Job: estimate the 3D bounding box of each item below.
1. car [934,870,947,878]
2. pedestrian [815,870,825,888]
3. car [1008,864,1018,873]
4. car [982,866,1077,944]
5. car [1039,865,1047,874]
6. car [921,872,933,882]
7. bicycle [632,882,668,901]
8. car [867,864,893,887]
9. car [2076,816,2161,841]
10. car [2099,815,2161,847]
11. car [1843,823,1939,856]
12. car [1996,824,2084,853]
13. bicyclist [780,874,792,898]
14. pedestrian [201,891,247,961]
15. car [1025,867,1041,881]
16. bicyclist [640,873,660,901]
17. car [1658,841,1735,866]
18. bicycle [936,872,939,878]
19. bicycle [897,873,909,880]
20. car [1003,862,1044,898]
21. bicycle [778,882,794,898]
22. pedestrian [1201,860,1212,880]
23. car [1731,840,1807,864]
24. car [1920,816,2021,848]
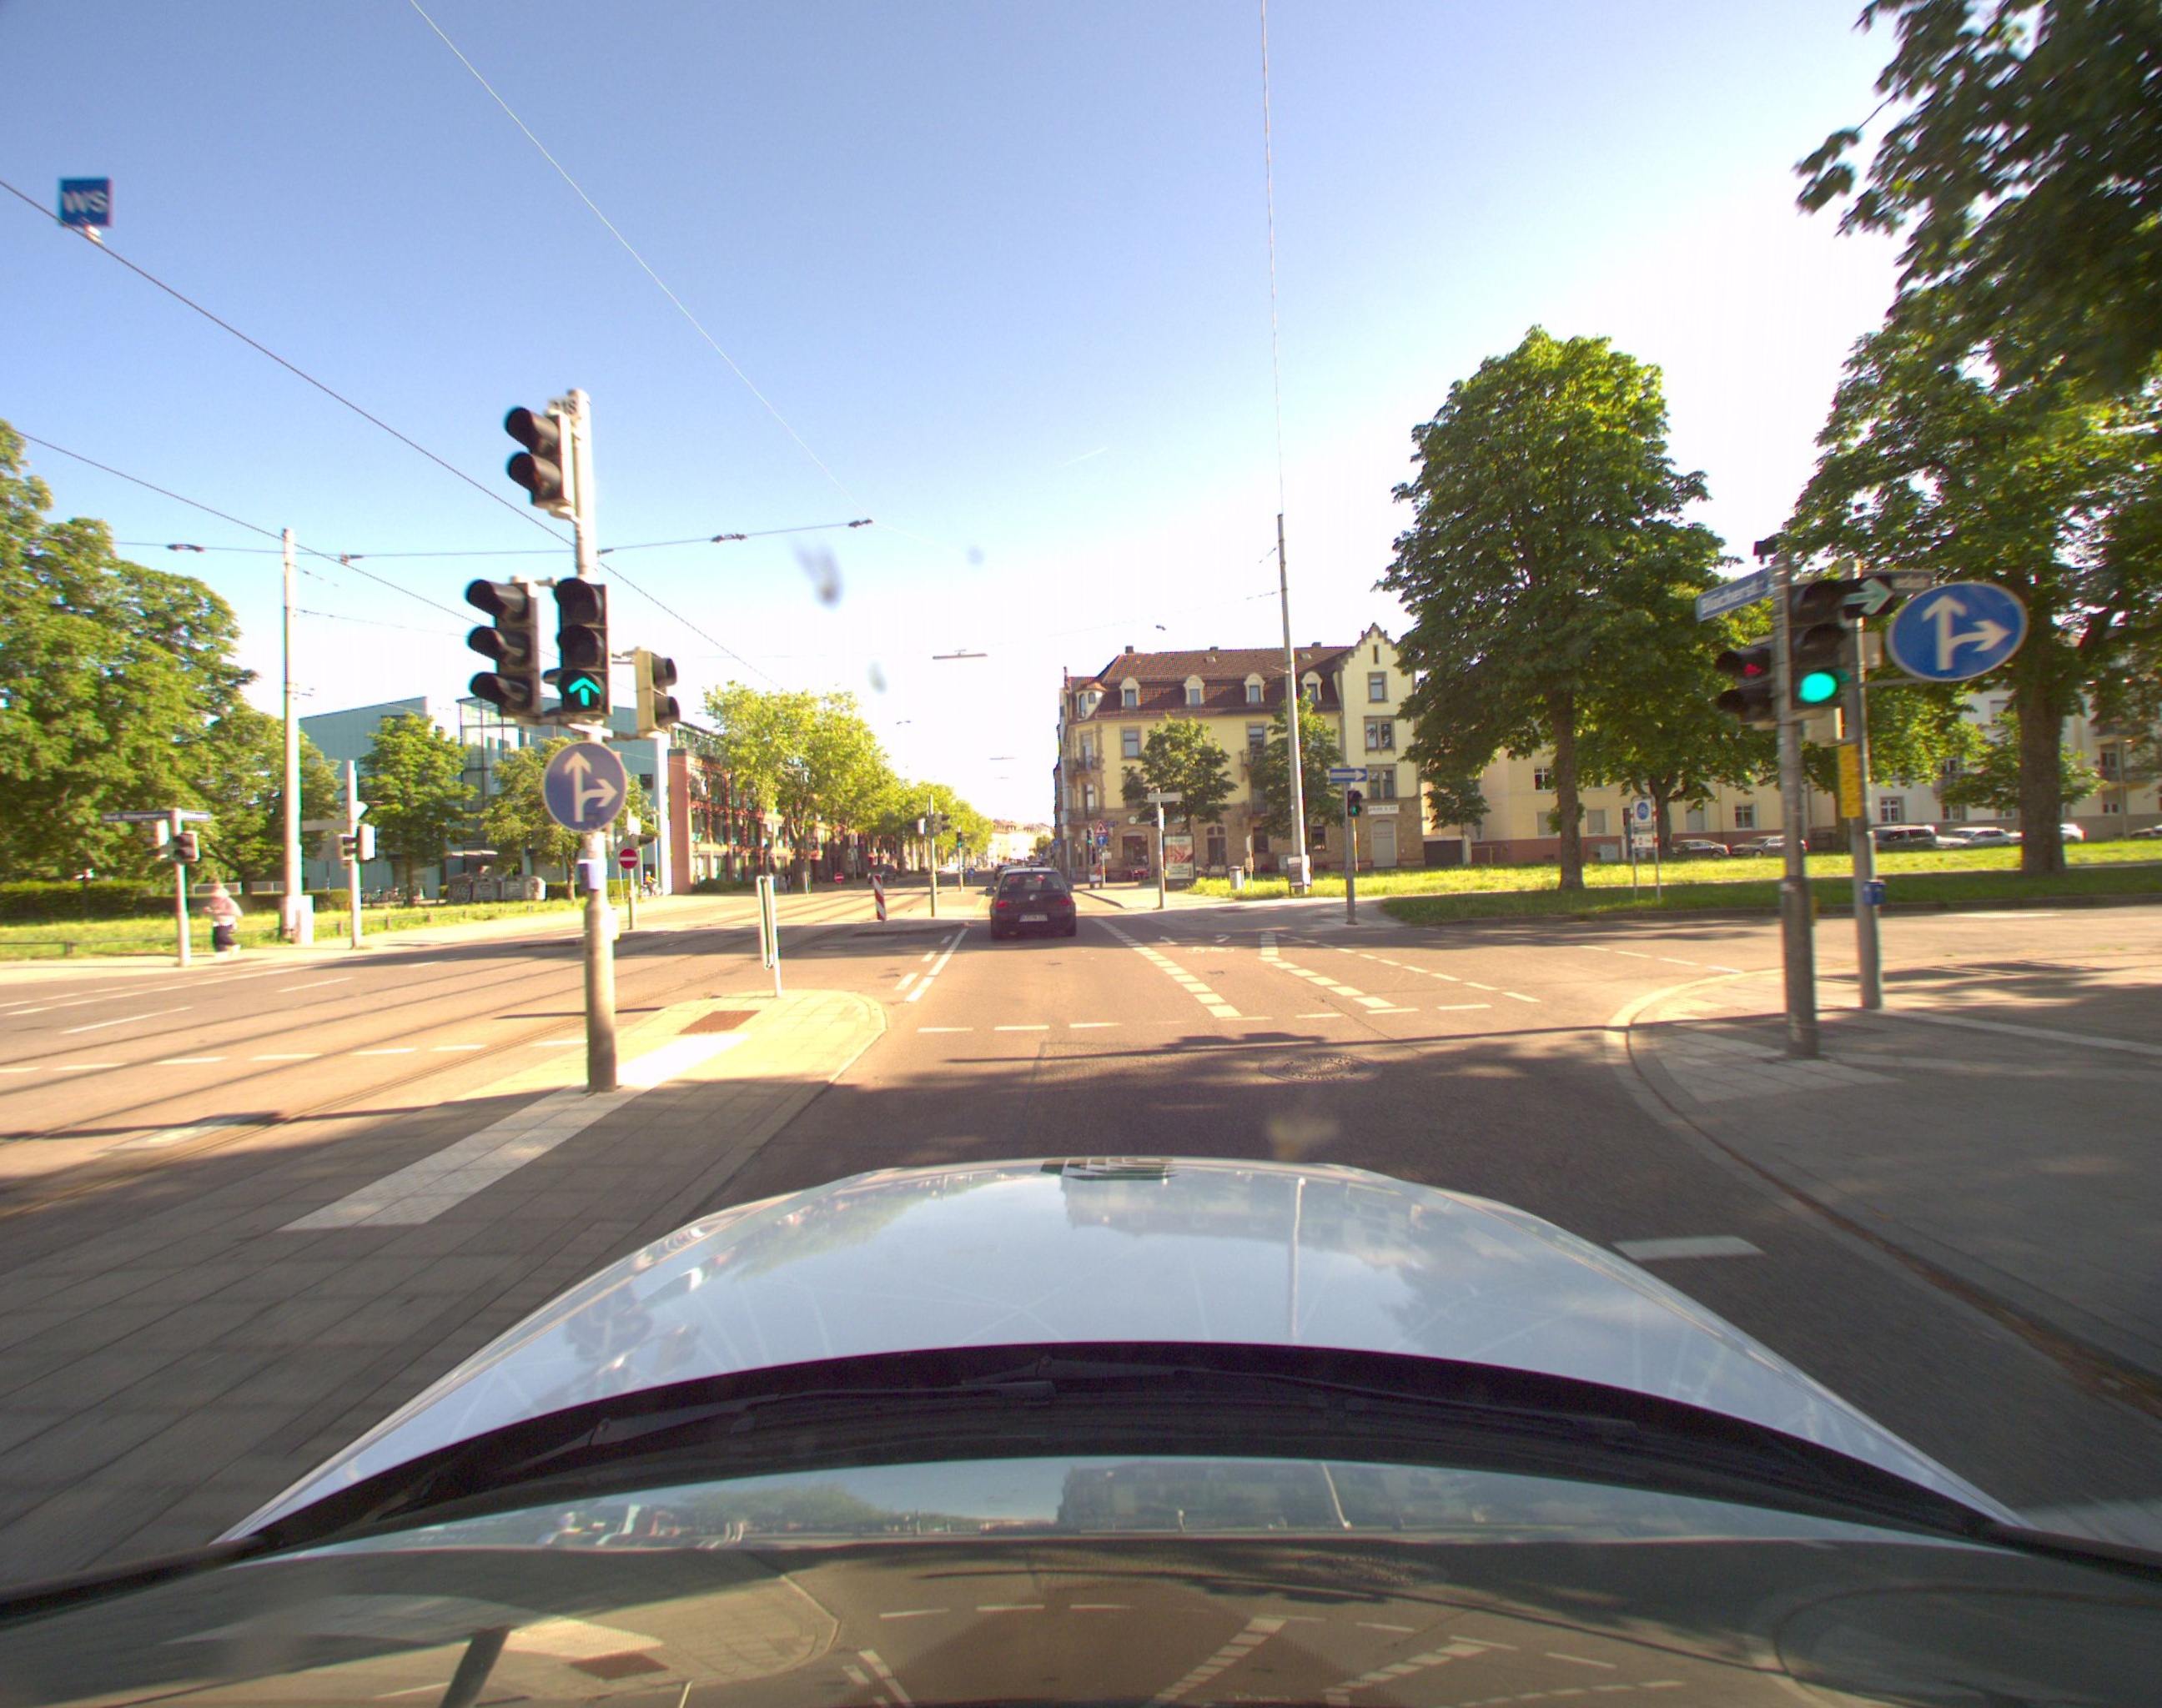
[{"bbox_3d":[-28.469,3.968,165.273,2.008,1.572,4.686,0,-1,-4],"label":"car"},{"bbox_3d":[-28.076,2.685,87.644,0.911,2.014,0.778,0,-1,-11],"label":"pedestrian"},{"bbox_3d":[-12.616,2.719,150.930,1.632,1.472,3.725,-2,0,-3],"label":"car"},{"bbox_3d":[-1.097,0.988,17.393,1.745,1.375,3.994,-2,0,-4],"label":"car"},{"bbox_3d":[-8.442,3.508,182.290,1.755,1.838,3.544,0,-1,-3],"label":"car"},{"bbox_3d":[-26.680,3.989,141.036,1.504,1.454,3.459,-4,-2,-3],"label":"car"},{"bbox_3d":[-27.270,2.382,51.570,0.626,1.129,2.046,-1,-1,22],"label":"bicycle"},{"bbox_3d":[-20.326,2.130,82.557,2.019,2.013,5.235,-4,1,-8],"label":"car"},{"bbox_3d":[70.411,-1.707,55.183,3.678,1.604,1.736,0,-1,2],"label":"car"},{"bbox_3d":[64.608,-1.381,49.252,3.682,1.882,1.927,0,-1,-1],"label":"car"},{"bbox_3d":[48.089,-0.867,48.401,3.678,1.882,1.929,0,-1,3],"label":"car"},{"bbox_3d":[64.520,-1.004,54.819,3.682,1.882,1.927,0,-1,-1],"label":"car"},{"bbox_3d":[-21.935,2.352,60.559,0.586,1.711,0.900,-3,0,-5],"label":"bicyclist"},{"bbox_3d":[-20.096,1.674,19.096,0.616,1.557,0.683,-1,-1,39],"label":"pedestrian"},{"bbox_3d":[-5.207,2.135,88.267,1.651,1.482,3.995,-1,-1,-3],"label":"car"},{"bbox_3d":[-27.270,2.086,51.576,0.599,1.692,0.937,-1,-1,22],"label":"bicyclist"},{"bbox_3d":[41.129,-0.072,54.458,3.826,1.605,1.828,0,1,1],"label":"car"},{"bbox_3d":[-28.045,4.047,159.558,0.581,1.209,1.649,0,-1,-8],"label":"bicycle"},{"bbox_3d":[-32.085,4.069,147.076,2.003,1.278,0.663,-1,-1,-3],"label":"bicycle"},{"bbox_3d":[-2.704,1.214,38.992,1.744,1.538,3.888,-2,0,-2],"label":"car"},{"bbox_3d":[-21.916,2.650,60.541,0.586,1.113,1.823,-3,0,-5],"label":"bicycle"},{"bbox_3d":[8.709,1.101,56.372,0.637,1.360,0.701,0,-1,-2],"label":"pedestrian"},{"bbox_3d":[45.865,-0.124,54.348,3.682,1.513,1.734,0,-1,-1],"label":"car"},{"bbox_3d":[53.487,-1.306,49.015,4.041,1.882,1.927,0,-1,-1],"label":"car"}]
